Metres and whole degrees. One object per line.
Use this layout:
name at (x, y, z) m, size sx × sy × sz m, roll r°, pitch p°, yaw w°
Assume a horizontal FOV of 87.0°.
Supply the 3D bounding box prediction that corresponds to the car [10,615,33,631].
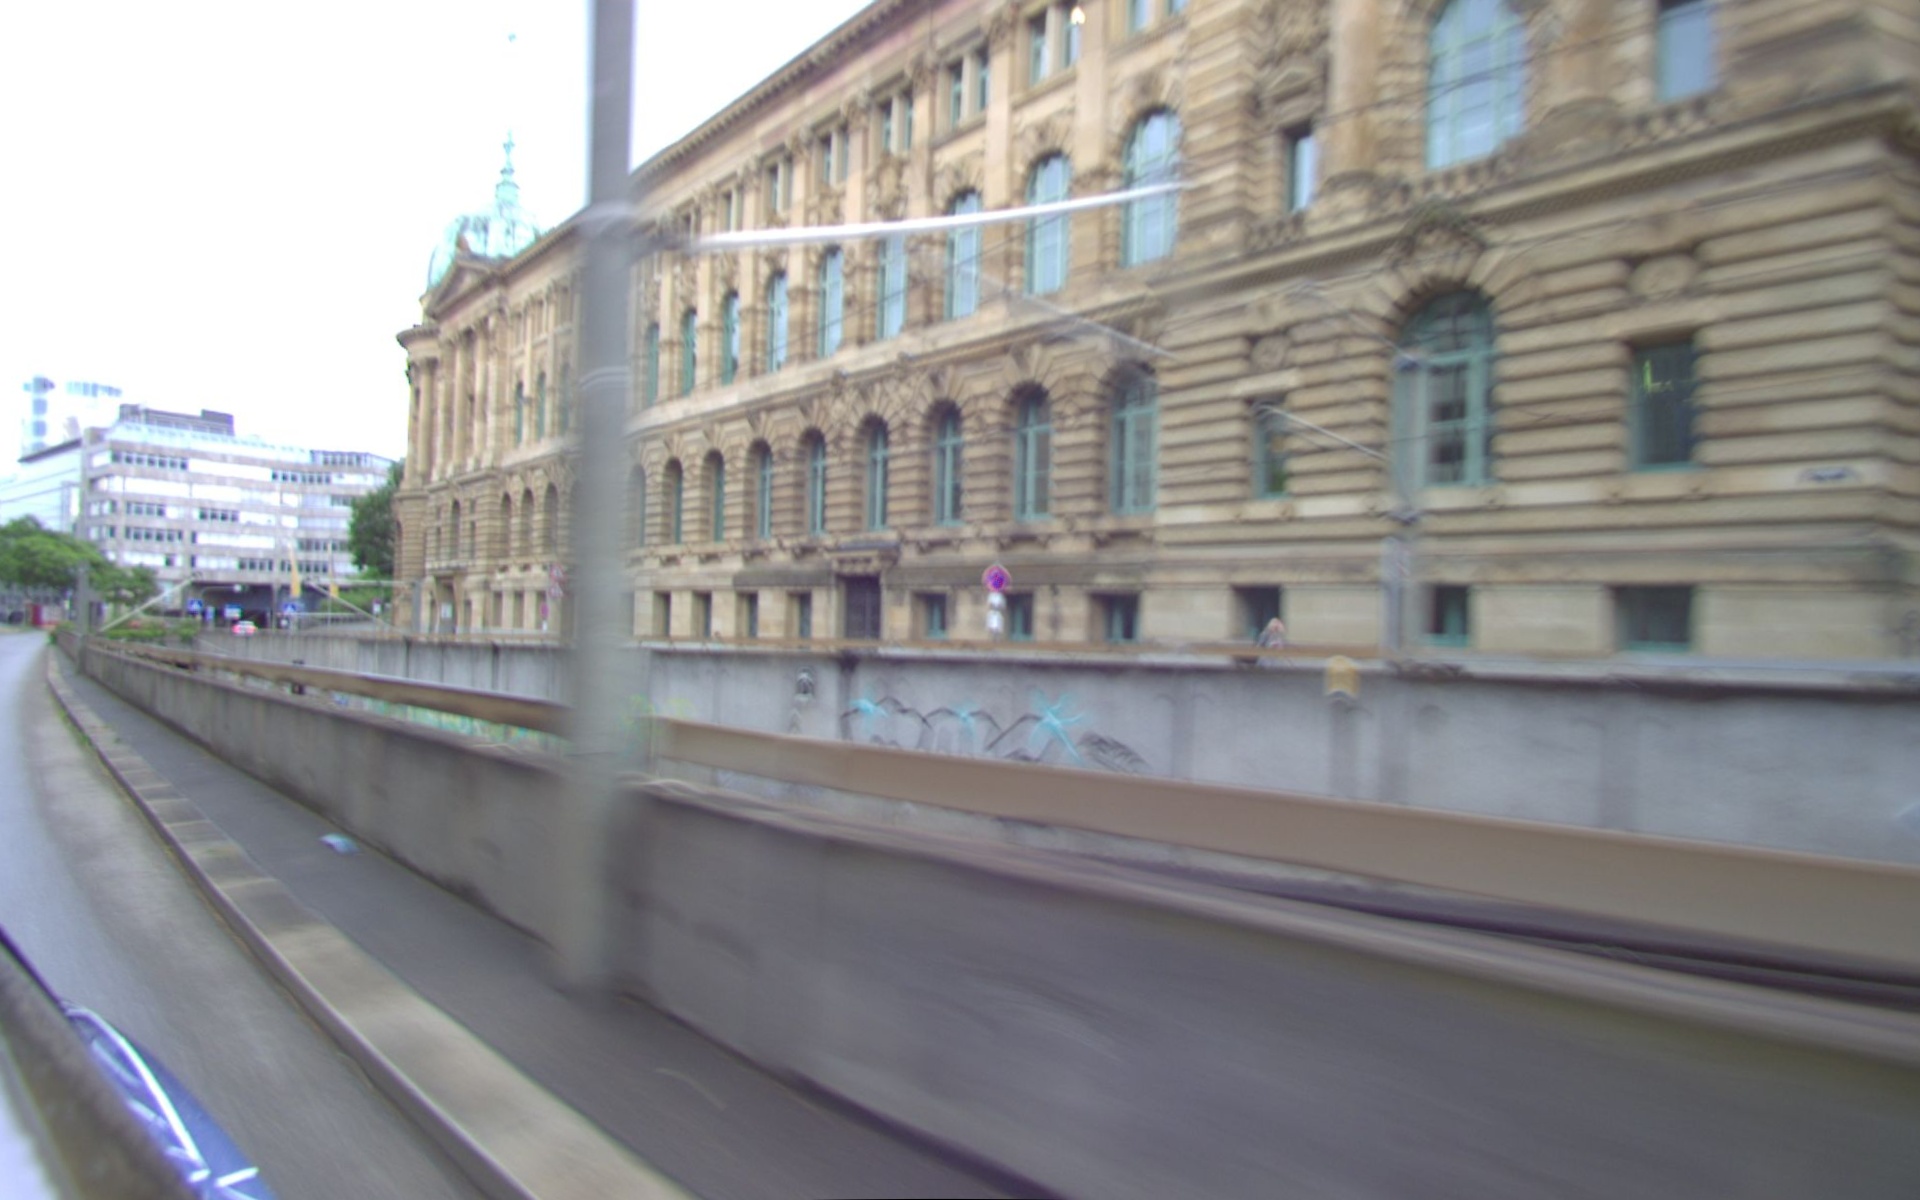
car at (-124.902, 3.007, 134.670) m, size 4.000 × 2.095 × 1.972 m, roll 0°, pitch -1°, yaw 43°
